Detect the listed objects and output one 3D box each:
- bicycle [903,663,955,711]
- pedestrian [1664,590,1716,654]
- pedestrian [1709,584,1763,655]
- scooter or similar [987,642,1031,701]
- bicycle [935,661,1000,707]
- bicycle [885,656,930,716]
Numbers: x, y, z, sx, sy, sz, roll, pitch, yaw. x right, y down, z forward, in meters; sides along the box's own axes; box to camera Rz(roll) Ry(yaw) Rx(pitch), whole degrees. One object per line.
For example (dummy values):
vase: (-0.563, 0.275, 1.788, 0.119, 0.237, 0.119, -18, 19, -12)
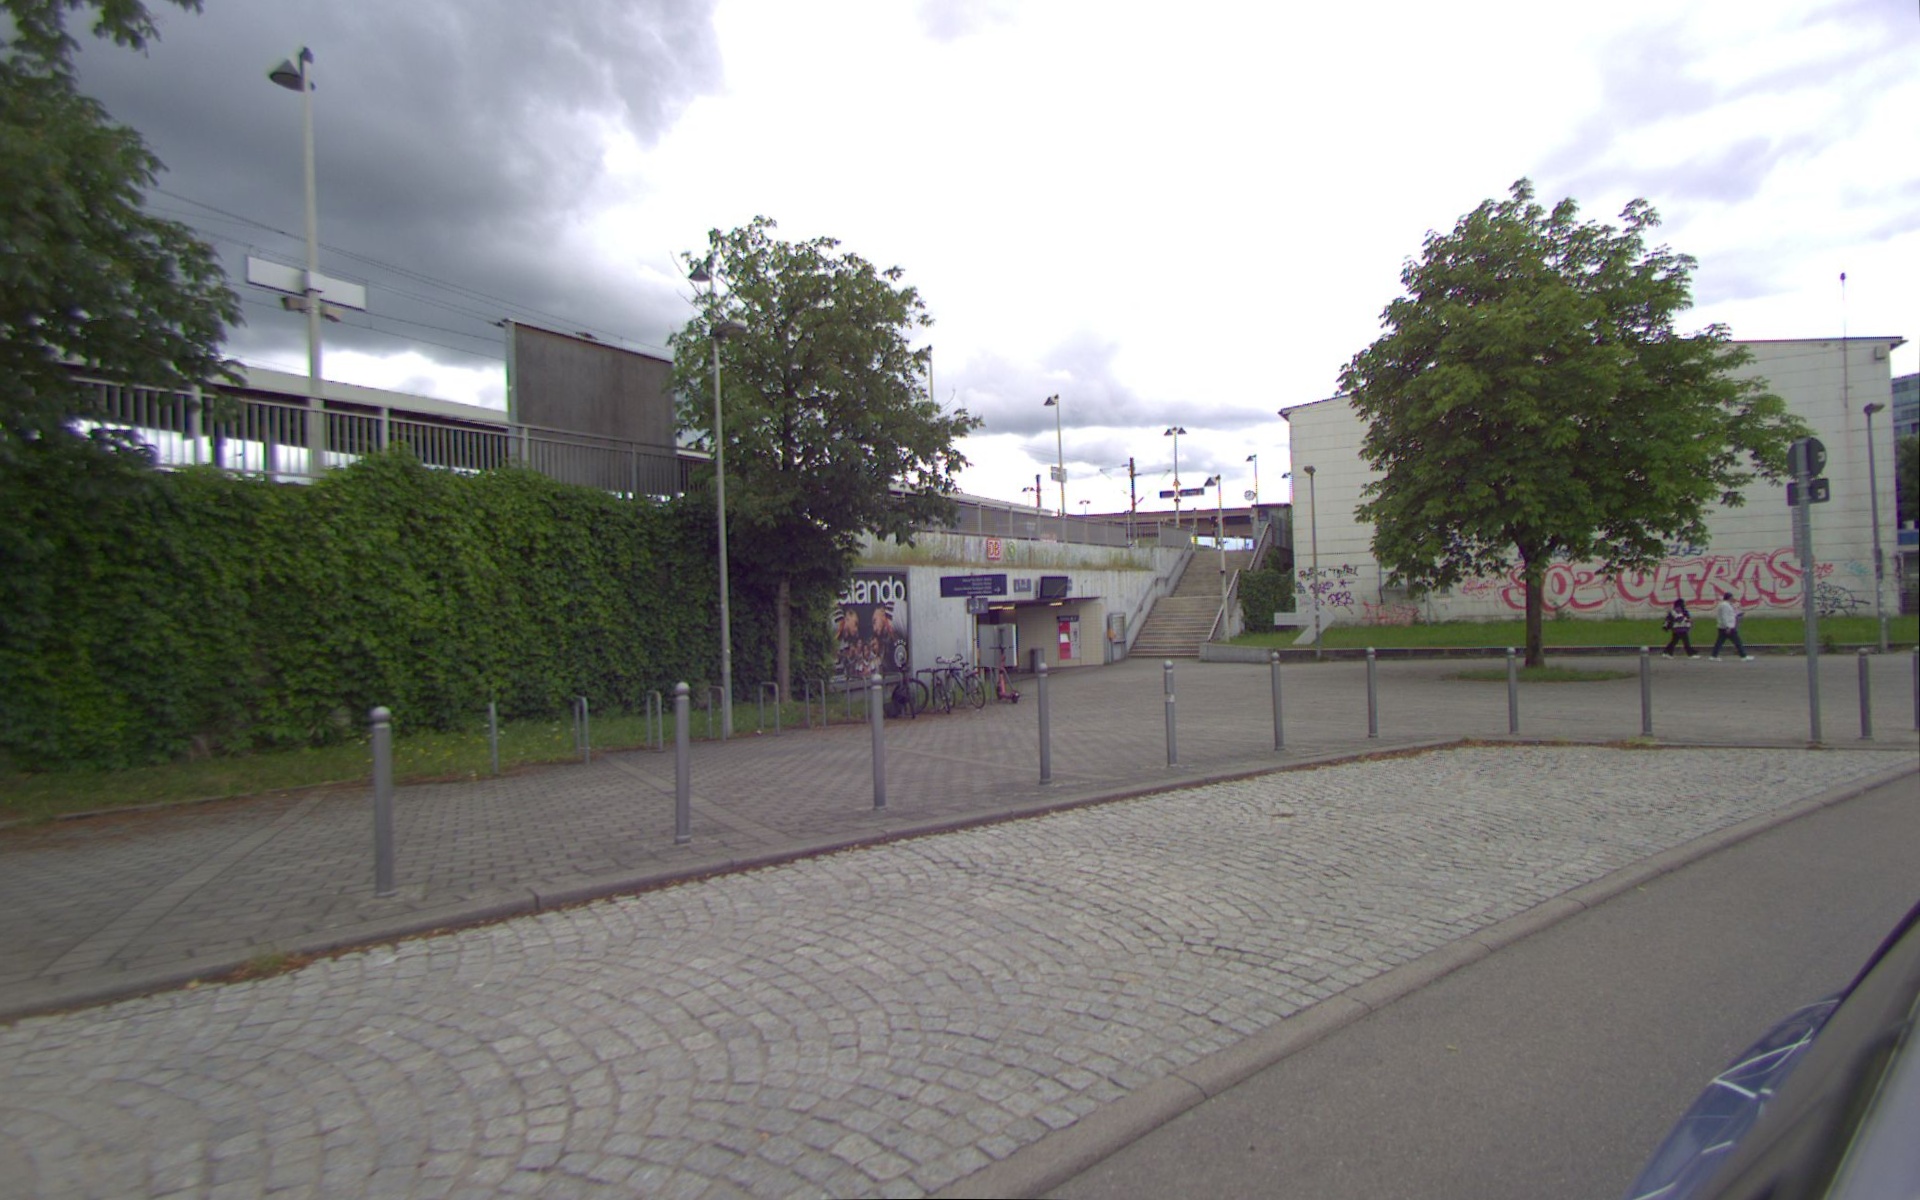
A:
bicycle: (-0.620, 1.675, 19.707, 0.454, 0.865, 1.582, 0, -3, -22)
pedestrian: (18.917, 0.566, 26.248, 0.790, 1.603, 0.799, -2, 0, 14)
pedestrian: (19.259, 0.476, 25.147, 0.738, 1.724, 0.813, -2, 0, 14)
scooter or similar: (1.046, 1.530, 21.909, 0.458, 1.222, 1.193, -1, -3, -22)
bicycle: (0.128, 1.701, 20.632, 0.500, 0.876, 1.974, 0, -4, -25)
bicycle: (-0.977, 1.558, 18.551, 0.680, 1.002, 1.494, -1, -2, -8)
